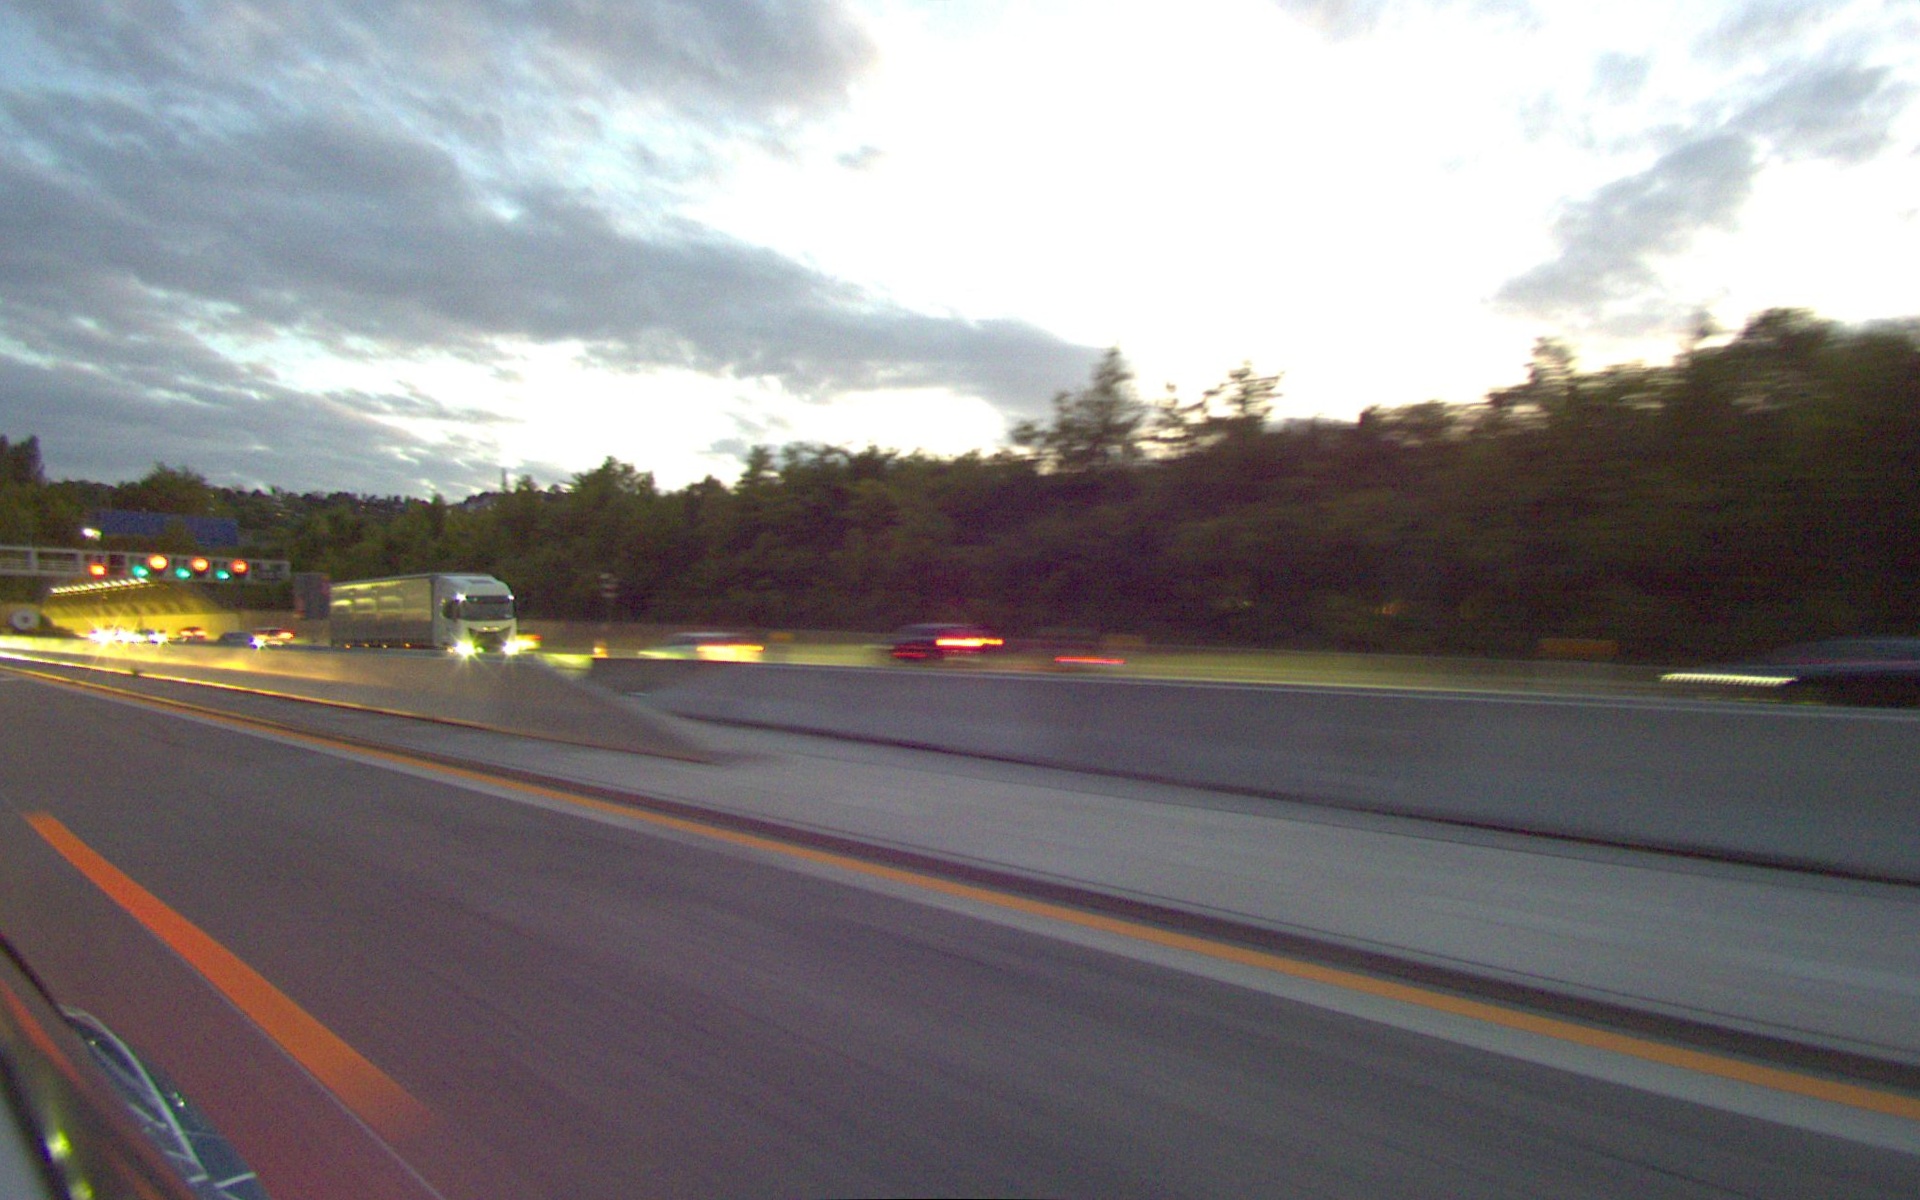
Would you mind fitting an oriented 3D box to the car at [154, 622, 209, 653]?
[{"bbox_3d":[-52.168,2.456,67.749,4.699,1.898,2.068,-1,0,42],"label":"car"}]

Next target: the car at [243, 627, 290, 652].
[{"bbox_3d":[-52.811,2.997,77.000,4.806,1.751,1.880,-1,0,42],"label":"car"}]

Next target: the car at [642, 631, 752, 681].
[{"bbox_3d":[-9.889,2.054,37.866,4.750,1.650,1.661,-1,0,42],"label":"car"}]

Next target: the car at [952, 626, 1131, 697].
[{"bbox_3d":[2.130,1.589,27.442,4.750,1.650,1.785,-1,0,42],"label":"car"}]

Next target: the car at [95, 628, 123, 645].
[{"bbox_3d":[-79.971,3.412,95.071,3.823,1.492,1.490,-1,0,42],"label":"car"}]

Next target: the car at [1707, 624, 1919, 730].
[{"bbox_3d":[16.043,1.286,17.243,5.170,1.650,1.718,-1,0,42],"label":"car"}]

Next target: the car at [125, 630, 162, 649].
[{"bbox_3d":[-69.372,3.321,85.964,3.999,1.492,1.768,-1,0,42],"label":"car"}]

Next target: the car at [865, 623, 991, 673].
[{"bbox_3d":[-1.251,1.731,37.599,4.750,1.650,1.785,-1,0,42],"label":"car"}]

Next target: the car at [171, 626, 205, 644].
[{"bbox_3d":[-78.957,3.584,103.472,4.666,1.735,1.733,-1,0,40],"label":"car"}]

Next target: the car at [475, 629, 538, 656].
[{"bbox_3d":[-28.139,2.626,62.746,4.700,1.496,1.806,-1,0,42],"label":"car"}]

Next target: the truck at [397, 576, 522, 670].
[{"bbox_3d":[-21.921,0.934,44.159,6.302,3.803,2.772,-1,0,43],"label":"truck"}]

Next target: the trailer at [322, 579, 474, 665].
[{"bbox_3d":[-27.662,1.013,49.423,11.832,3.811,2.769,-1,0,42],"label":"trailer"}]
